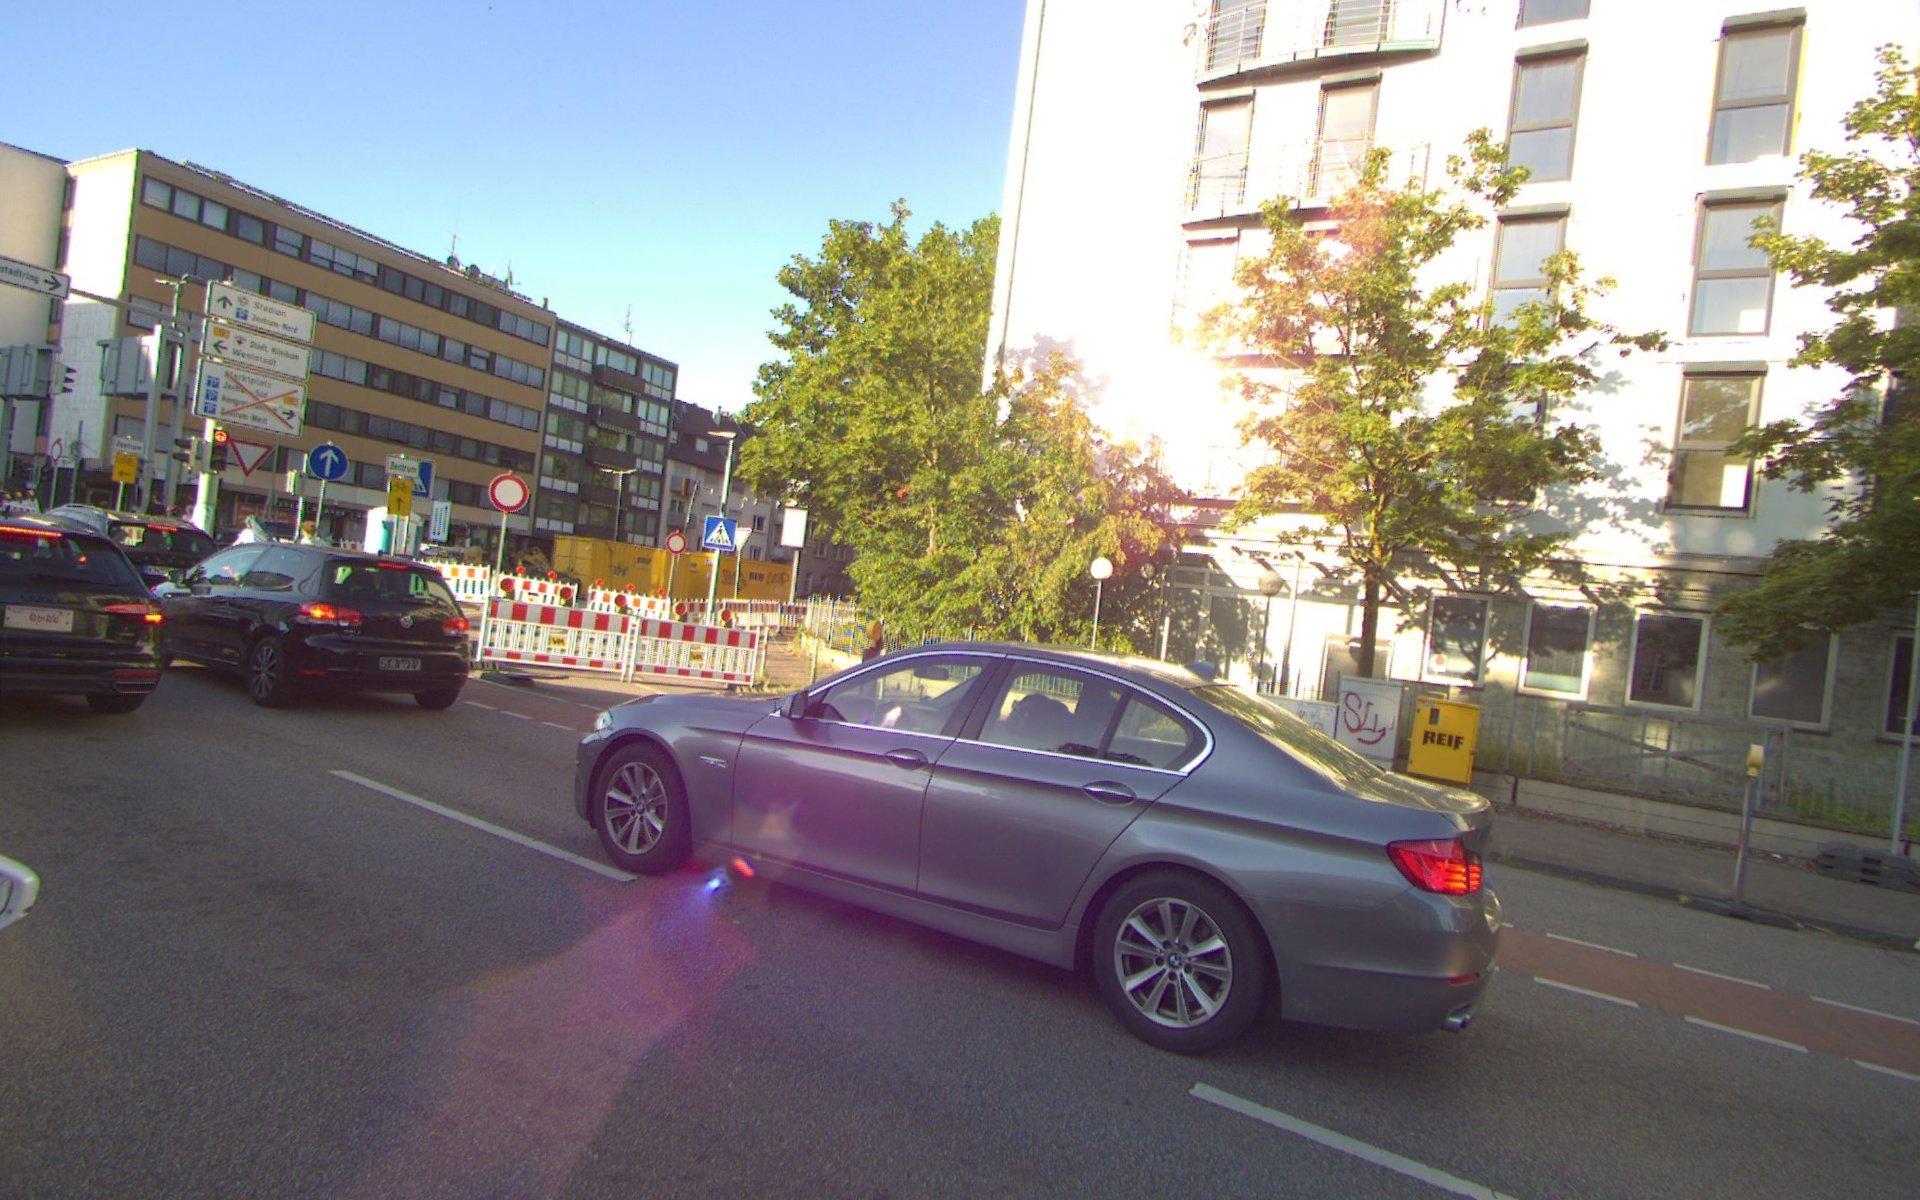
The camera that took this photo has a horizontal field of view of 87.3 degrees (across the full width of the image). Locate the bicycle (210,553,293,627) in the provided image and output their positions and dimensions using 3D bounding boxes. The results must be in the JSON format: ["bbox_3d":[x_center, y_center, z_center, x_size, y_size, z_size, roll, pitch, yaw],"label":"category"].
[{"bbox_3d":[-11.478,-0.175,16.277,1.825,1.020,0.337,7,0,32],"label":"bicycle"}]

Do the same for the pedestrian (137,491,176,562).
[{"bbox_3d":[-21.890,-2.002,27.406,0.479,1.857,0.570,7,0,34],"label":"pedestrian"}]

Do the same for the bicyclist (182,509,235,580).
[{"bbox_3d":[-18.719,-1.380,25.068,0.800,1.608,0.619,8,0,28],"label":"bicyclist"}]

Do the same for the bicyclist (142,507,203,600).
[{"bbox_3d":[-13.952,-0.824,17.820,0.713,1.544,0.514,7,0,32],"label":"bicyclist"}]

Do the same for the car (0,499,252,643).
[{"bbox_3d":[-11.141,-0.400,13.400,3.250,1.466,1.508,7,-2,32],"label":"car"}]

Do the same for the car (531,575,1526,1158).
[{"bbox_3d":[0.173,0.911,5.152,4.587,1.466,1.819,7,-1,29],"label":"car"}]

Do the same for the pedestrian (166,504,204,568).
[{"bbox_3d":[-21.622,-1.782,28.062,0.447,1.691,0.602,7,0,33],"label":"pedestrian"}]

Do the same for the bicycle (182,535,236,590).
[{"bbox_3d":[-18.733,-0.947,25.089,1.474,1.175,0.373,8,-1,28],"label":"bicycle"}]

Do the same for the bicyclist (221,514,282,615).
[{"bbox_3d":[-11.496,-0.569,16.322,0.713,1.544,0.441,7,0,32],"label":"bicyclist"}]

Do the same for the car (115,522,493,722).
[{"bbox_3d":[-6.613,0.190,10.068,3.683,1.466,1.637,7,-2,32],"label":"car"}]

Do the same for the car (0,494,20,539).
[{"bbox_3d":[-32.835,-2.945,31.918,1.650,1.435,4.002,7,-1,17],"label":"car"}]

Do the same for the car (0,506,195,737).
[{"bbox_3d":[-7.677,-0.048,7.474,4.144,1.437,1.685,7,-2,32],"label":"car"}]

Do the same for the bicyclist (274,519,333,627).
[{"bbox_3d":[-9.805,-0.405,15.034,0.474,1.544,0.441,7,0,31],"label":"bicyclist"}]
